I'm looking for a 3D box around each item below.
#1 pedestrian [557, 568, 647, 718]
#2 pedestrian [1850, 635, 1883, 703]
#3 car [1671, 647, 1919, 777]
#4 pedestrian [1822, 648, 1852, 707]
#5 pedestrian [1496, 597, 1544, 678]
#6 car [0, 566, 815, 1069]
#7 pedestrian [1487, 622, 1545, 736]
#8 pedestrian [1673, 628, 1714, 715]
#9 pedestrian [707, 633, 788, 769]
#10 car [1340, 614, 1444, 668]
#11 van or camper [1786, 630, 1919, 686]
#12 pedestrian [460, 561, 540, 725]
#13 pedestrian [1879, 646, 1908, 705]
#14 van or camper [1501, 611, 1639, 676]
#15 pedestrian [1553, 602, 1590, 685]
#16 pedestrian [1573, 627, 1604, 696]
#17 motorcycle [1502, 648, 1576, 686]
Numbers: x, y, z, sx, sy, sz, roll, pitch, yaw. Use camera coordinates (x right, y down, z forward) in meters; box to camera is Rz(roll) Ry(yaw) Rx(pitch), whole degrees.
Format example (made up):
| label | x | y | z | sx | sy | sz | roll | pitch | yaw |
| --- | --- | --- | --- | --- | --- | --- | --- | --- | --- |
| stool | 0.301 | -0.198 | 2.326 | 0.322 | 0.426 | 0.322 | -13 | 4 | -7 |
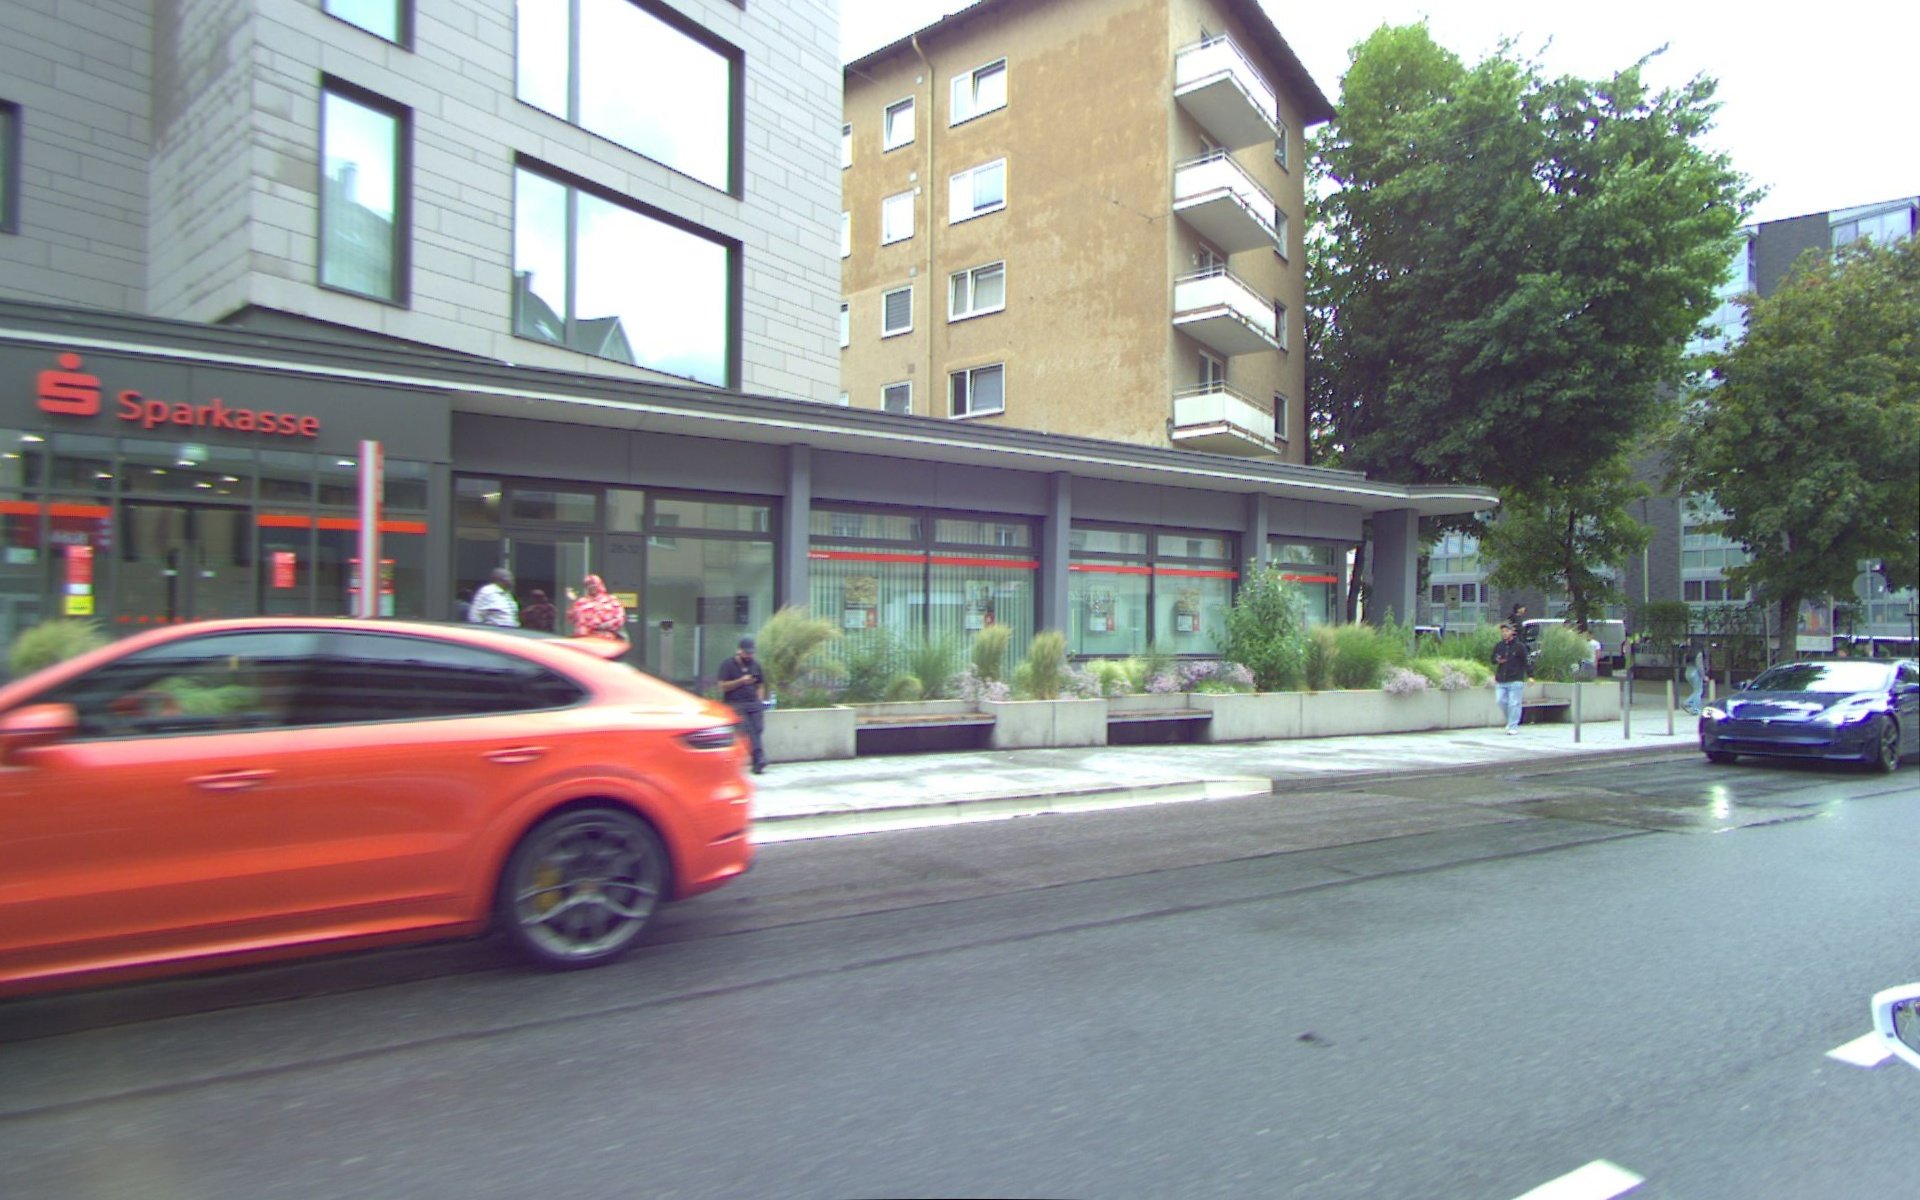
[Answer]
| label | x | y | z | sx | sy | sz | roll | pitch | yaw |
| --- | --- | --- | --- | --- | --- | --- | --- | --- | --- |
| pedestrian | -4.220 | 0.502 | 11.892 | 0.784 | 1.700 | 0.713 | 1 | -1 | -2 |
| pedestrian | 22.949 | 1.744 | 25.433 | 0.547 | 1.695 | 0.495 | 2 | -1 | -33 |
| car | 12.243 | 1.434 | 14.066 | 4.856 | 1.531 | 1.945 | 1 | -3 | -31 |
| pedestrian | 22.640 | 2.000 | 25.931 | 0.525 | 1.493 | 0.457 | 2 | -1 | -33 |
| pedestrian | 13.269 | 0.874 | 23.811 | 0.690 | 1.869 | 0.851 | 2 | -2 | -44 |
| car | -3.431 | 0.843 | 4.810 | 5.002 | 1.787 | 2.096 | 3 | -4 | -31 |
| pedestrian | 9.357 | 1.301 | 16.898 | 0.713 | 1.850 | 0.718 | 0 | 0 | 41 |
| pedestrian | 16.212 | 1.565 | 22.207 | 0.712 | 1.850 | 0.851 | 0 | 0 | 37 |
| pedestrian | -2.332 | 1.092 | 11.079 | 0.710 | 1.439 | 0.592 | 1 | -1 | 5 |
| car | 18.946 | 1.768 | 44.043 | 3.931 | 2.285 | 1.995 | -1 | -2 | 33 |
| van or camper | 35.952 | 2.267 | 39.665 | 4.880 | 2.040 | 1.996 | 1 | -1 | 31 |
| pedestrian | -5.005 | 0.461 | 10.916 | 0.705 | 1.700 | 0.710 | 1 | -1 | -30 |
| pedestrian | 23.151 | 1.871 | 24.901 | 0.476 | 1.429 | 0.430 | 2 | -1 | -33 |
| van or camper | 24.337 | 1.677 | 40.254 | 4.537 | 2.296 | 2.207 | 2 | 1 | 31 |
| pedestrian | 13.429 | 0.943 | 22.050 | 0.646 | 1.782 | 0.718 | 0 | -2 | 37 |
| pedestrian | 17.296 | 1.672 | 27.642 | 0.711 | 1.850 | 0.720 | 1 | 0 | 32 |
| motorcycle | 18.349 | 2.108 | 31.887 | 0.783 | 1.001 | 2.053 | 1 | 1 | -14 |
